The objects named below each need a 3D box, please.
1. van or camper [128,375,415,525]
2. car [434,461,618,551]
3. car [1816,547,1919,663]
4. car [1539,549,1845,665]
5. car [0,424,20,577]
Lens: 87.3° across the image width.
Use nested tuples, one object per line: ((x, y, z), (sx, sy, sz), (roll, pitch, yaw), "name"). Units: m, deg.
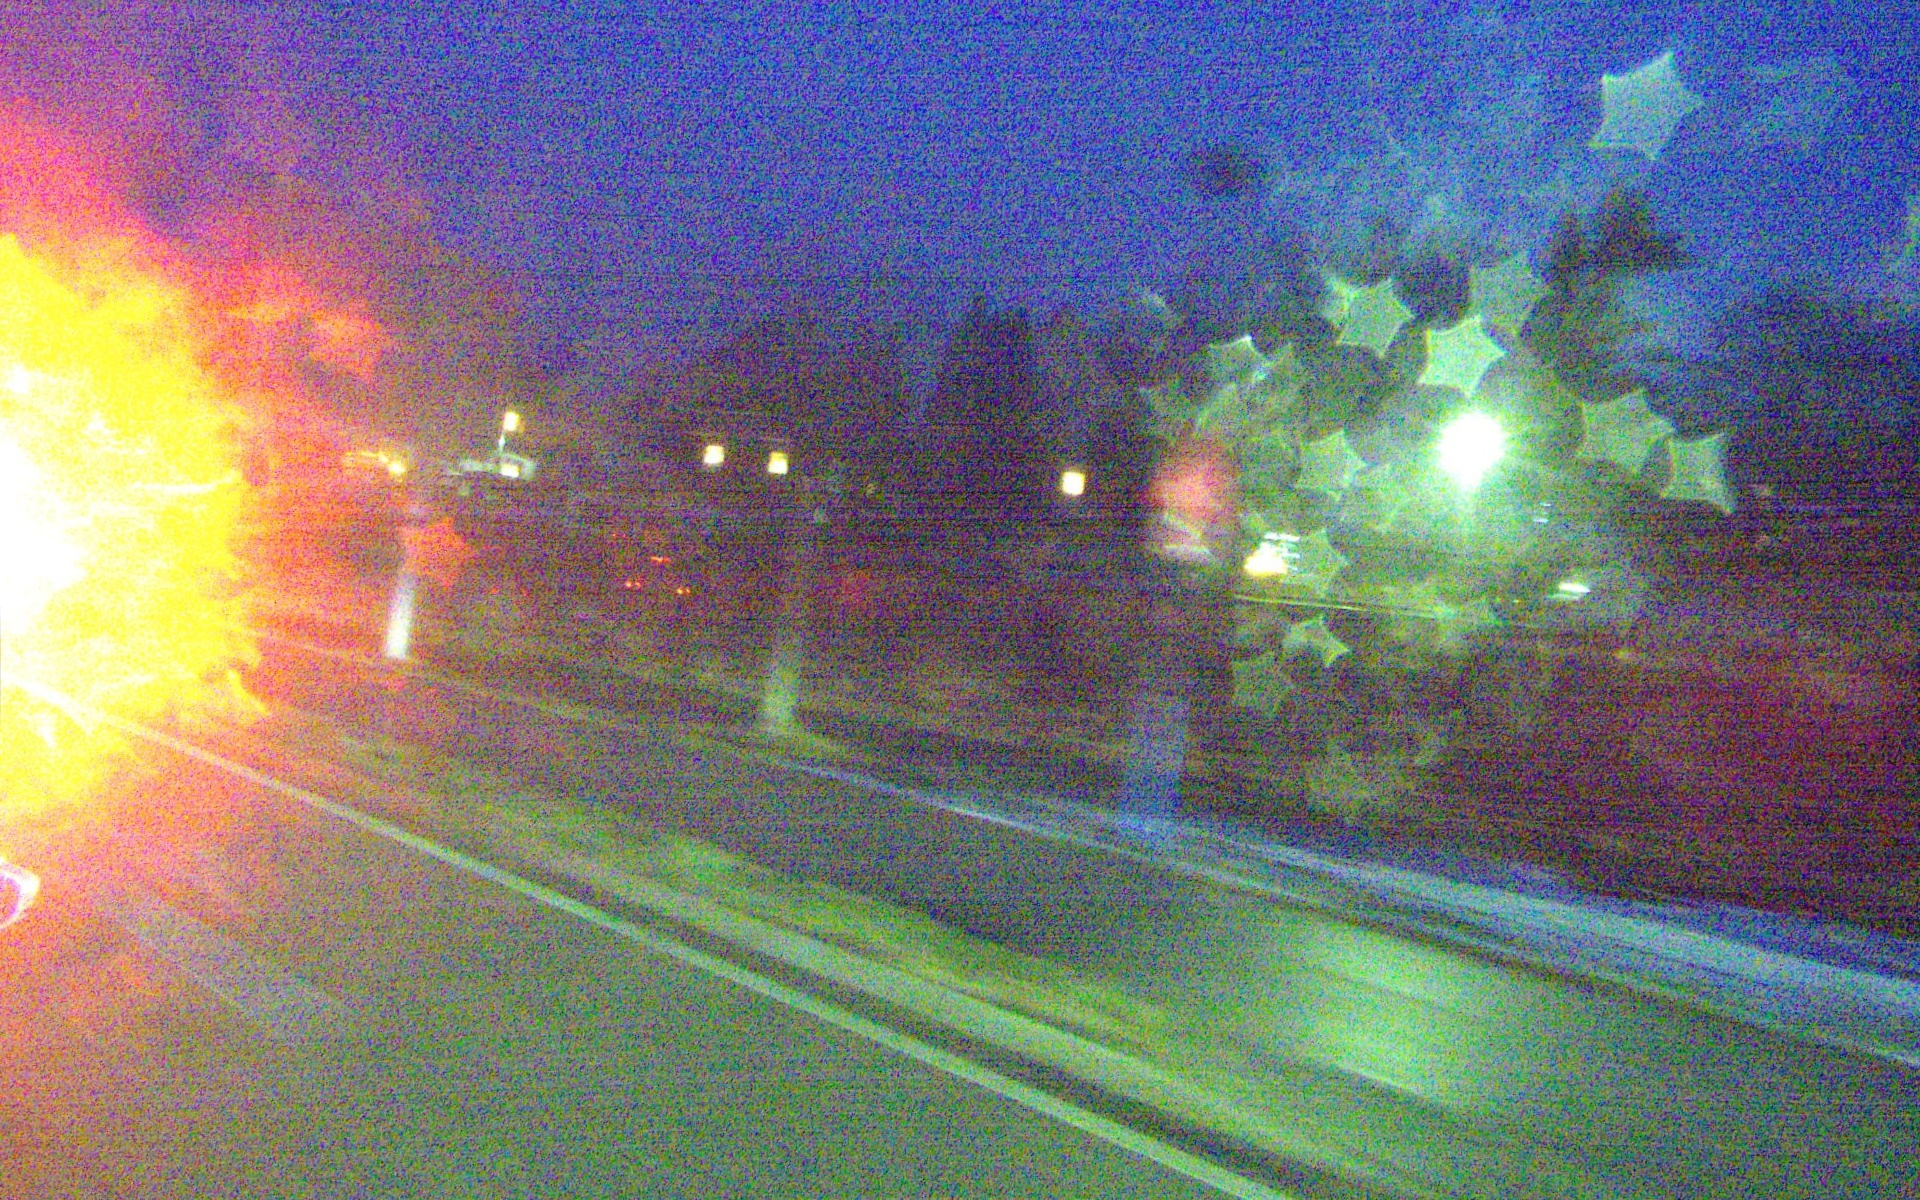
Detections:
((-18.001, -3.897, 26.396), (6.238, 2.943, 2.590), (7, 0, 16), "van or camper")
((-10.989, -2.371, 25.516), (4.056, 1.637, 1.643), (8, -1, 17), "car")
((16.731, 0.259, 16.283), (3.925, 1.659, 1.619), (7, -1, 18), "car")
((12.705, 0.132, 17.752), (3.925, 1.490, 1.619), (7, -1, 18), "car")
((-9.786, -0.682, 8.203), (4.148, 1.995, 1.946), (7, -1, 32), "car")
